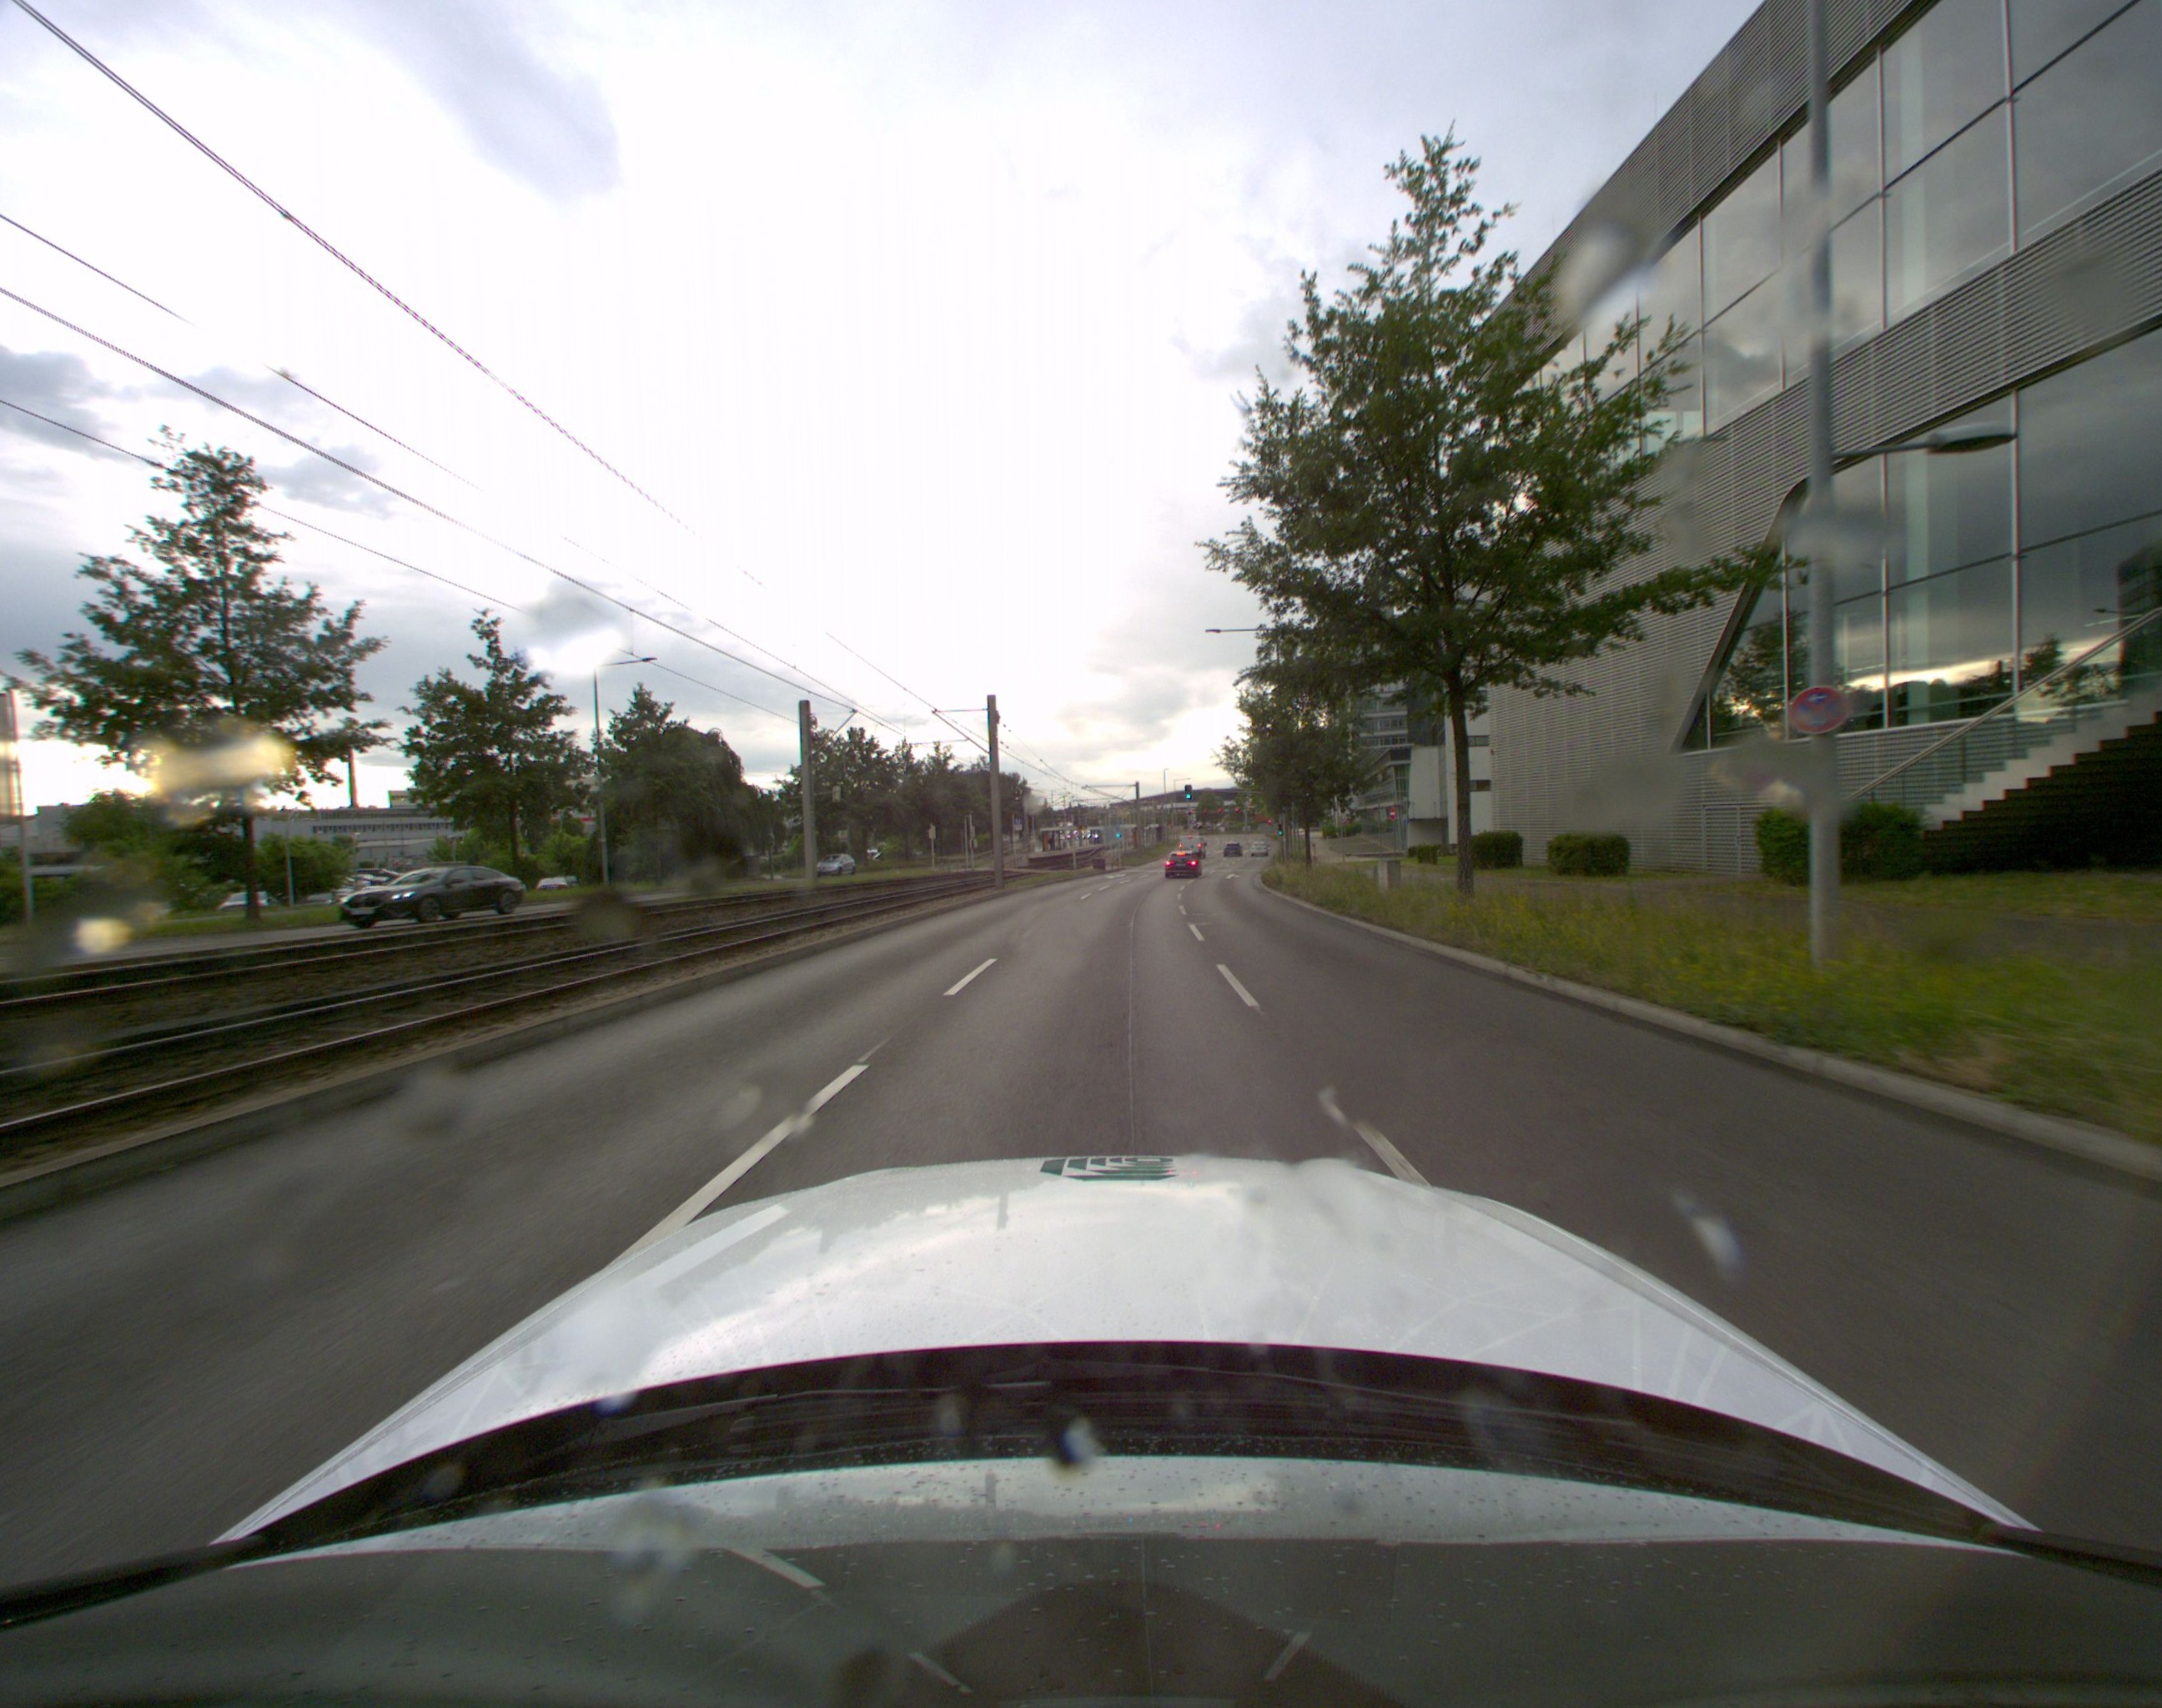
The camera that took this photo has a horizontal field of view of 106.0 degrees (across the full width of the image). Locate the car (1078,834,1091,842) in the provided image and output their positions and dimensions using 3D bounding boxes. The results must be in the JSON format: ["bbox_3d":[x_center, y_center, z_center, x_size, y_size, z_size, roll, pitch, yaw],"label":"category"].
[{"bbox_3d":[0.816,-4.130,211.876,2.001,2.014,3.971,0,-1,-21],"label":"car"}]

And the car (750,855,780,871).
[{"bbox_3d":[-29.892,0.865,77.001,2.006,1.415,3.960,0,-2,-31],"label":"car"}]

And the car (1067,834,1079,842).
[{"bbox_3d":[-2.086,-4.121,210.242,2.001,2.014,3.971,0,-1,-21],"label":"car"}]

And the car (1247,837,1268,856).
[{"bbox_3d":[18.678,-0.806,86.140,2.008,1.769,4.012,-1,2,10],"label":"car"}]

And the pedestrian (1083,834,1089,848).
[{"bbox_3d":[0.755,-1.880,120.342,0.852,2.014,1.041,-1,-2,1],"label":"pedestrian"}]

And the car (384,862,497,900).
[{"bbox_3d":[-29.780,1.224,38.050,1.985,1.651,4.002,-1,-1,3],"label":"car"}]

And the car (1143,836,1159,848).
[{"bbox_3d":[10.624,-1.811,122.861,1.981,1.452,3.860,-1,4,10],"label":"car"}]

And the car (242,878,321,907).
[{"bbox_3d":[-43.862,2.063,44.810,2.005,1.510,3.964,0,-2,-28],"label":"car"}]

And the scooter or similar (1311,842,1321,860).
[{"bbox_3d":[17.252,-0.223,59.820,0.455,1.263,1.340,-4,0,7],"label":"scooter or similar"}]

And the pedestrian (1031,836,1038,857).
[{"bbox_3d":[-4.312,-0.711,75.868,0.546,1.953,0.665,-1,-2,6],"label":"pedestrian"}]

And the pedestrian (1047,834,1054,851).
[{"bbox_3d":[-3.366,-1.331,91.128,0.633,1.854,0.753,-1,-2,9],"label":"pedestrian"}]

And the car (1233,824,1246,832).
[{"bbox_3d":[45.032,-7.474,231.192,1.997,2.014,3.980,-1,-1,-15],"label":"car"}]

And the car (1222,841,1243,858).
[{"bbox_3d":[16.071,-0.477,86.491,2.009,1.623,4.010,-1,-1,9],"label":"car"}]

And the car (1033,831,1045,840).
[{"bbox_3d":[-10.570,-4.666,205.728,2.001,2.014,3.971,0,-1,-21],"label":"car"}]

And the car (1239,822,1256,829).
[{"bbox_3d":[40.856,-7.057,199.614,2.034,1.623,3.961,-2,1,-30],"label":"car"}]

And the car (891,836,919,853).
[{"bbox_3d":[-22.568,-1.176,104.308,1.980,2.014,4.014,-1,-1,13],"label":"car"}]

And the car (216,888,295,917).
[{"bbox_3d":[-47.001,2.734,46.471,1.759,1.494,3.968,0,-1,-23],"label":"car"}]

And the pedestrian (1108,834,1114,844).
[{"bbox_3d":[5.168,-2.575,140.141,0.747,1.751,0.766,-1,-2,10],"label":"pedestrian"}]

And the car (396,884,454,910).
[{"bbox_3d":[-40.594,2.648,50.509,1.759,1.494,3.968,0,-1,-23],"label":"car"}]

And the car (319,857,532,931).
[{"bbox_3d":[-16.837,0.950,21.282,1.877,1.520,4.403,-5,0,0],"label":"car"}]

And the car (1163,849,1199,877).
[{"bbox_3d":[5.584,0.450,45.147,1.753,1.463,4.639,0,0,9],"label":"car"}]

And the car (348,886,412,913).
[{"bbox_3d":[-42.279,2.714,49.211,1.759,1.494,3.968,0,-1,-23],"label":"car"}]

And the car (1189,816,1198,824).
[{"bbox_3d":[33.060,-9.934,238.808,1.988,2.014,3.998,-1,-1,-1],"label":"car"}]

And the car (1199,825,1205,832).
[{"bbox_3d":[37.684,-7.955,254.028,1.809,2.014,3.475,-1,-1,5],"label":"car"}]

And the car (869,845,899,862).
[{"bbox_3d":[-23.904,0.002,99.114,1.980,2.014,4.014,-1,-1,13],"label":"car"}]

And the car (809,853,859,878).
[{"bbox_3d":[-17.576,0.765,58.183,1.984,1.679,4.006,-1,0,5],"label":"car"}]

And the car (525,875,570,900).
[{"bbox_3d":[-34.561,2.157,52.839,2.005,1.510,3.964,0,-2,-28],"label":"car"}]

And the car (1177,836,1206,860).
[{"bbox_3d":[11.032,-0.569,81.229,2.495,2.177,5.165,-1,-1,11],"label":"car"}]
